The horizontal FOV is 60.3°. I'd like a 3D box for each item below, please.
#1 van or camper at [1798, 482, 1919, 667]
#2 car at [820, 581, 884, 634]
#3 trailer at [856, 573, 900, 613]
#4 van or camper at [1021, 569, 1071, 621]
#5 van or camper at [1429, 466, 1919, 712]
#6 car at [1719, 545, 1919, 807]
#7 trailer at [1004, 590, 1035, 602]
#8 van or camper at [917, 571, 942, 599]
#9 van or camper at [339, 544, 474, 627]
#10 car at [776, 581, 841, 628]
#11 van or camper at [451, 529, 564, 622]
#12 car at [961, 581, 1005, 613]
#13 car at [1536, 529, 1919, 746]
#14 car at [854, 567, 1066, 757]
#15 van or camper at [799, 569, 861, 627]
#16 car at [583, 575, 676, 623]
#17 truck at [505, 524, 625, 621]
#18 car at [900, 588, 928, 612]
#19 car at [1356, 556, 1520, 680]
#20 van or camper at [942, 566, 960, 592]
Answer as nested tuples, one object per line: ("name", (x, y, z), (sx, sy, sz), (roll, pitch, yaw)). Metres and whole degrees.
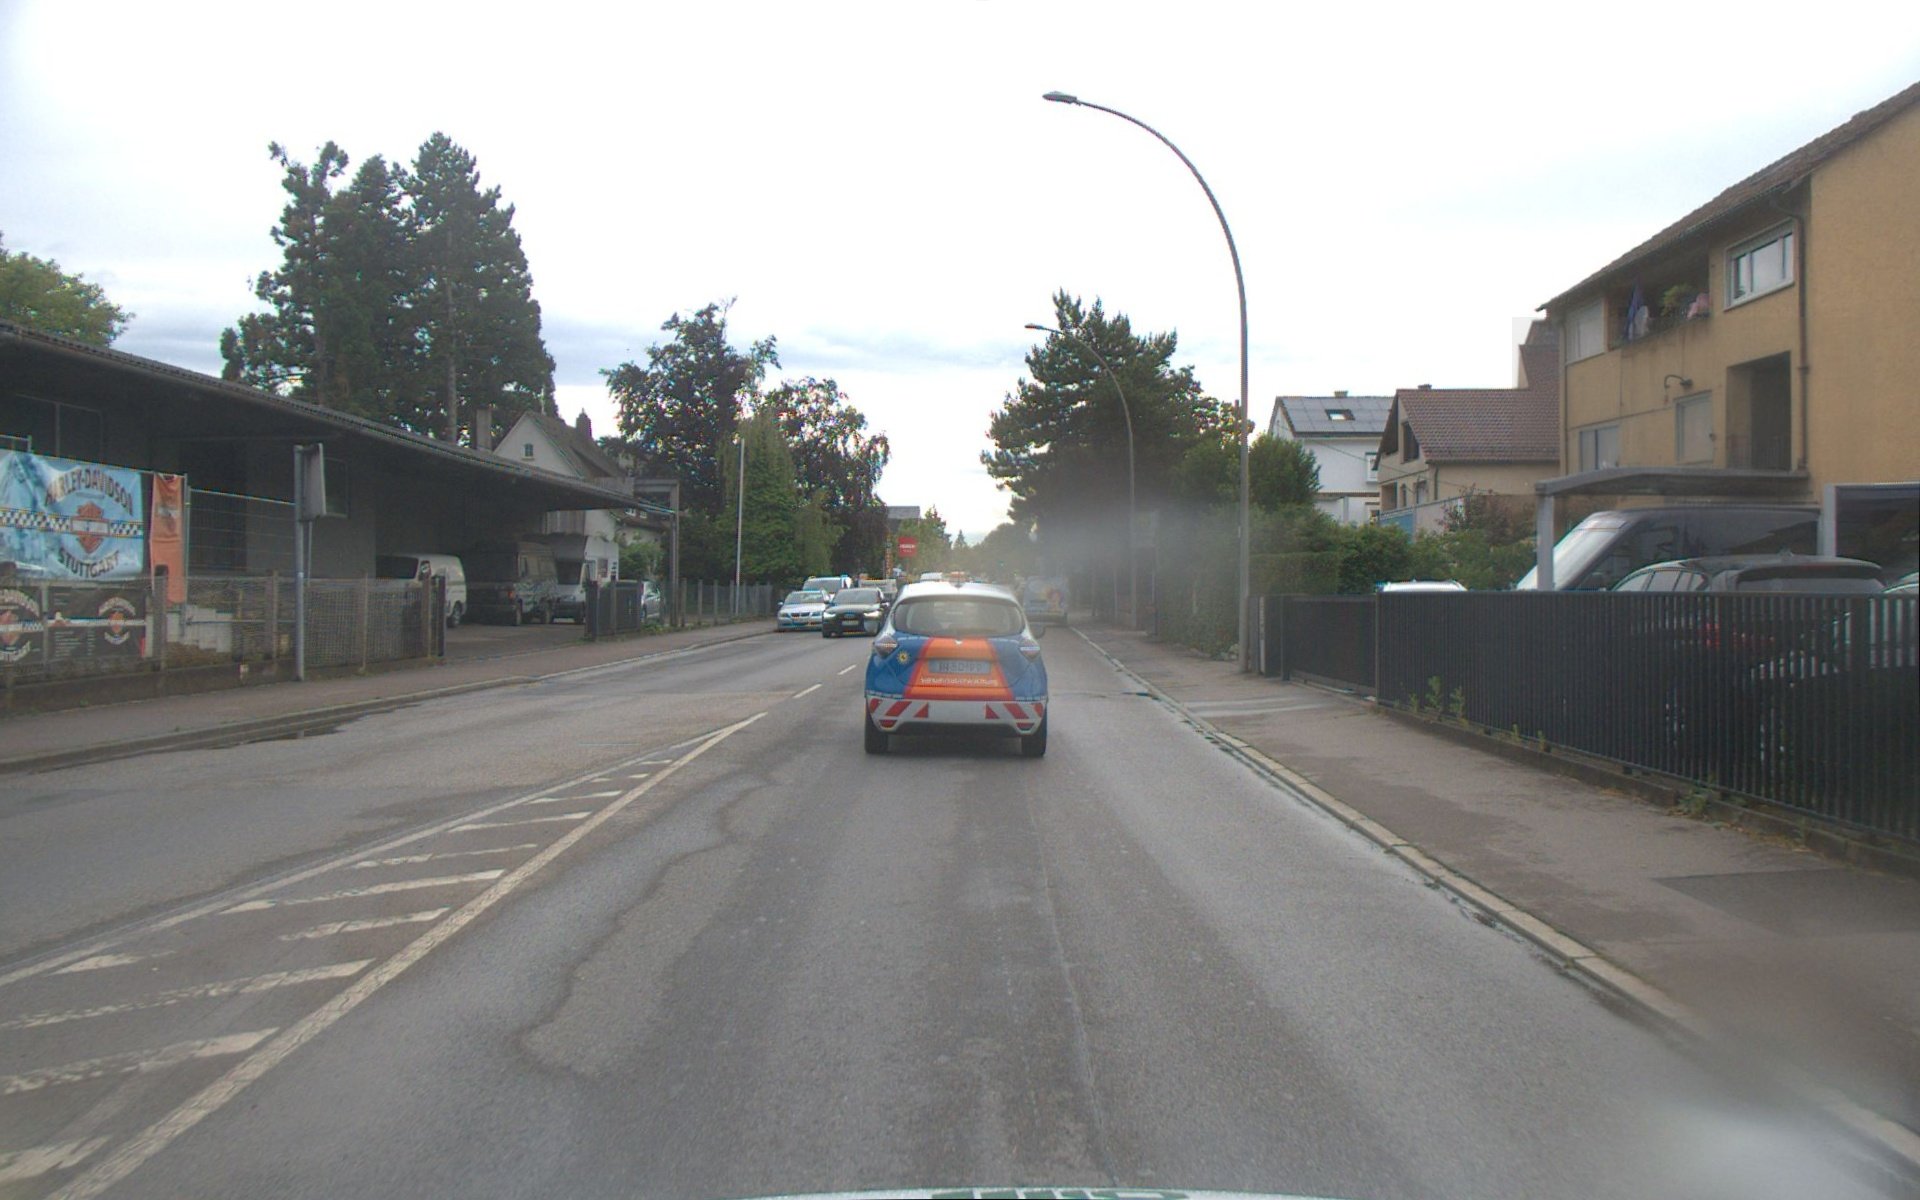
("van or camper", (15.256, -0.326, 25.620), (2.015, 2.727, 6.023), (0, -2, 6))
("car", (-3.287, 0.259, 51.044), (1.707, 1.477, 4.541), (2, -1, -1))
("trailer", (-4.505, -0.362, 91.831), (2.175, 2.049, 4.435), (2, -1, 0))
("van or camper", (3.271, -0.220, 63.415), (1.718, 1.916, 4.000), (0, 1, 0))
("van or camper", (8.477, -0.083, 18.650), (5.782, 2.529, 2.132), (1, -2, 1))
("car", (6.277, 0.452, 9.926), (1.627, 1.482, 4.246), (2, 1, 3))
("trailer", (3.770, -0.252, 105.367), (1.898, 0.767, 2.859), (0, 1, 0))
("van or camper", (-2.705, -1.326, 146.734), (2.117, 2.394, 4.334), (0, 1, 0))
("van or camper", (-14.152, -0.353, 42.551), (1.953, 1.942, 4.471), (2, 0, -1))
("car", (-5.296, 0.185, 58.320), (1.706, 1.506, 4.184), (-2, -2, 2))
("van or camper", (-13.425, -0.659, 49.430), (1.821, 2.480, 5.233), (3, -1, 0))
("car", (1.162, -0.183, 83.263), (1.951, 1.444, 4.003), (-1, 2, 4))
("car", (6.682, 0.343, 14.920), (1.627, 1.594, 4.568), (2, -1, 4))
("car", (0.049, 0.517, 16.443), (1.849, 1.660, 4.001), (0, 1, 1))
("van or camper", (-5.061, -0.037, 65.072), (1.851, 2.049, 5.097), (2, -1, 1))
("car", (-10.582, -0.020, 53.267), (1.896, 1.469, 4.783), (1, 0, 2))
("truck", (-13.061, -0.839, 55.148), (2.345, 2.978, 5.958), (2, 0, 1))
("car", (-3.393, 0.016, 122.849), (1.953, 1.624, 3.999), (2, -1, 0))
("car", (7.419, 0.333, 26.135), (2.076, 1.679, 5.239), (2, -1, 12))
("van or camper", (-0.998, -2.362, 186.975), (1.952, 2.823, 5.441), (0, 1, 0))
